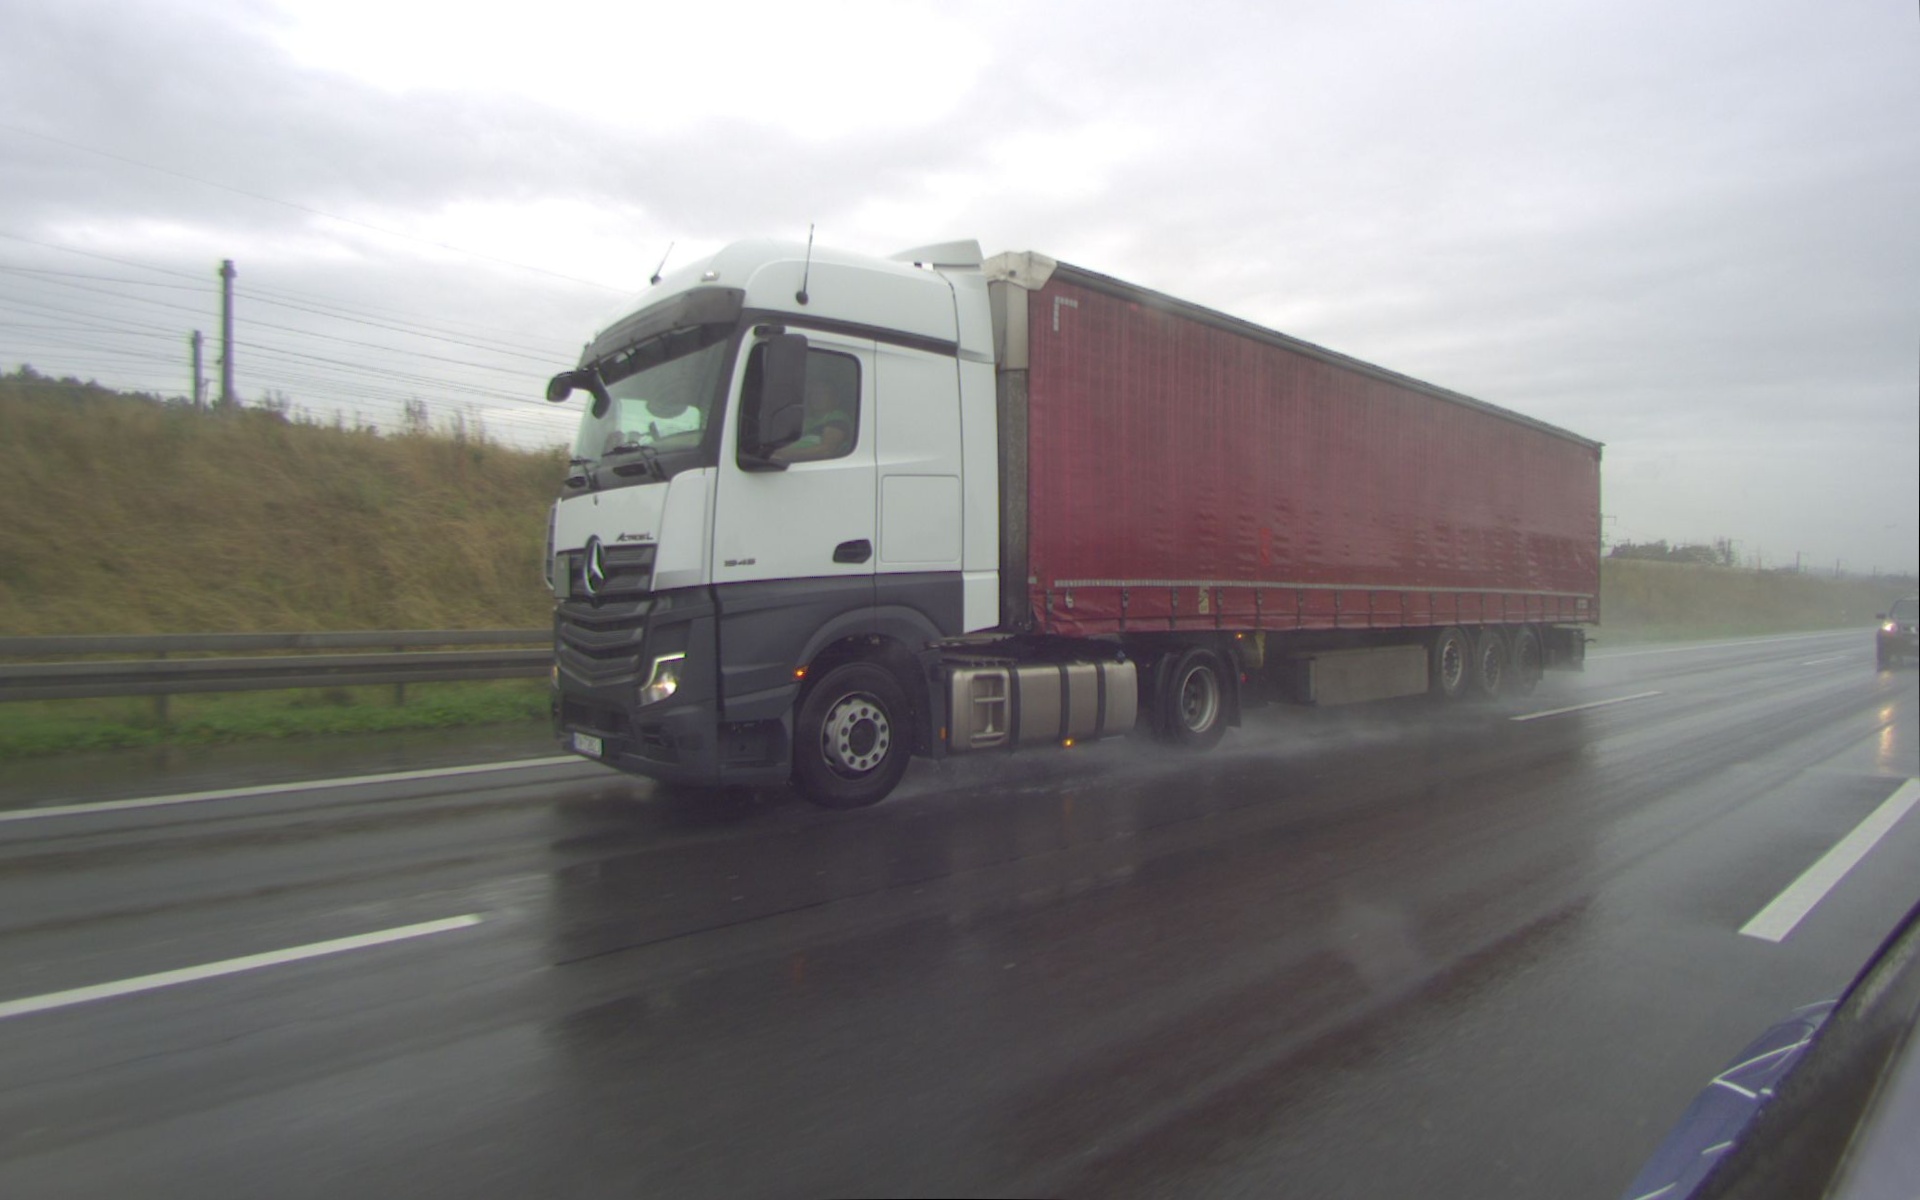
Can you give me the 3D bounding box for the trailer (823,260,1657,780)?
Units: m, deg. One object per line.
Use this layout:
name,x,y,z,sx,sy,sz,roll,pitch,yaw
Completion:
trailer,5.631,-0.646,13.744,16.258,3.813,2.484,0,0,-42

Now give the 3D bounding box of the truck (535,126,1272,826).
truck,-0.094,-0.725,8.636,6.091,3.938,2.456,0,0,-41

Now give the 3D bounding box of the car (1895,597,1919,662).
car,24.336,0.703,24.827,3.769,1.519,1.662,0,0,-41
